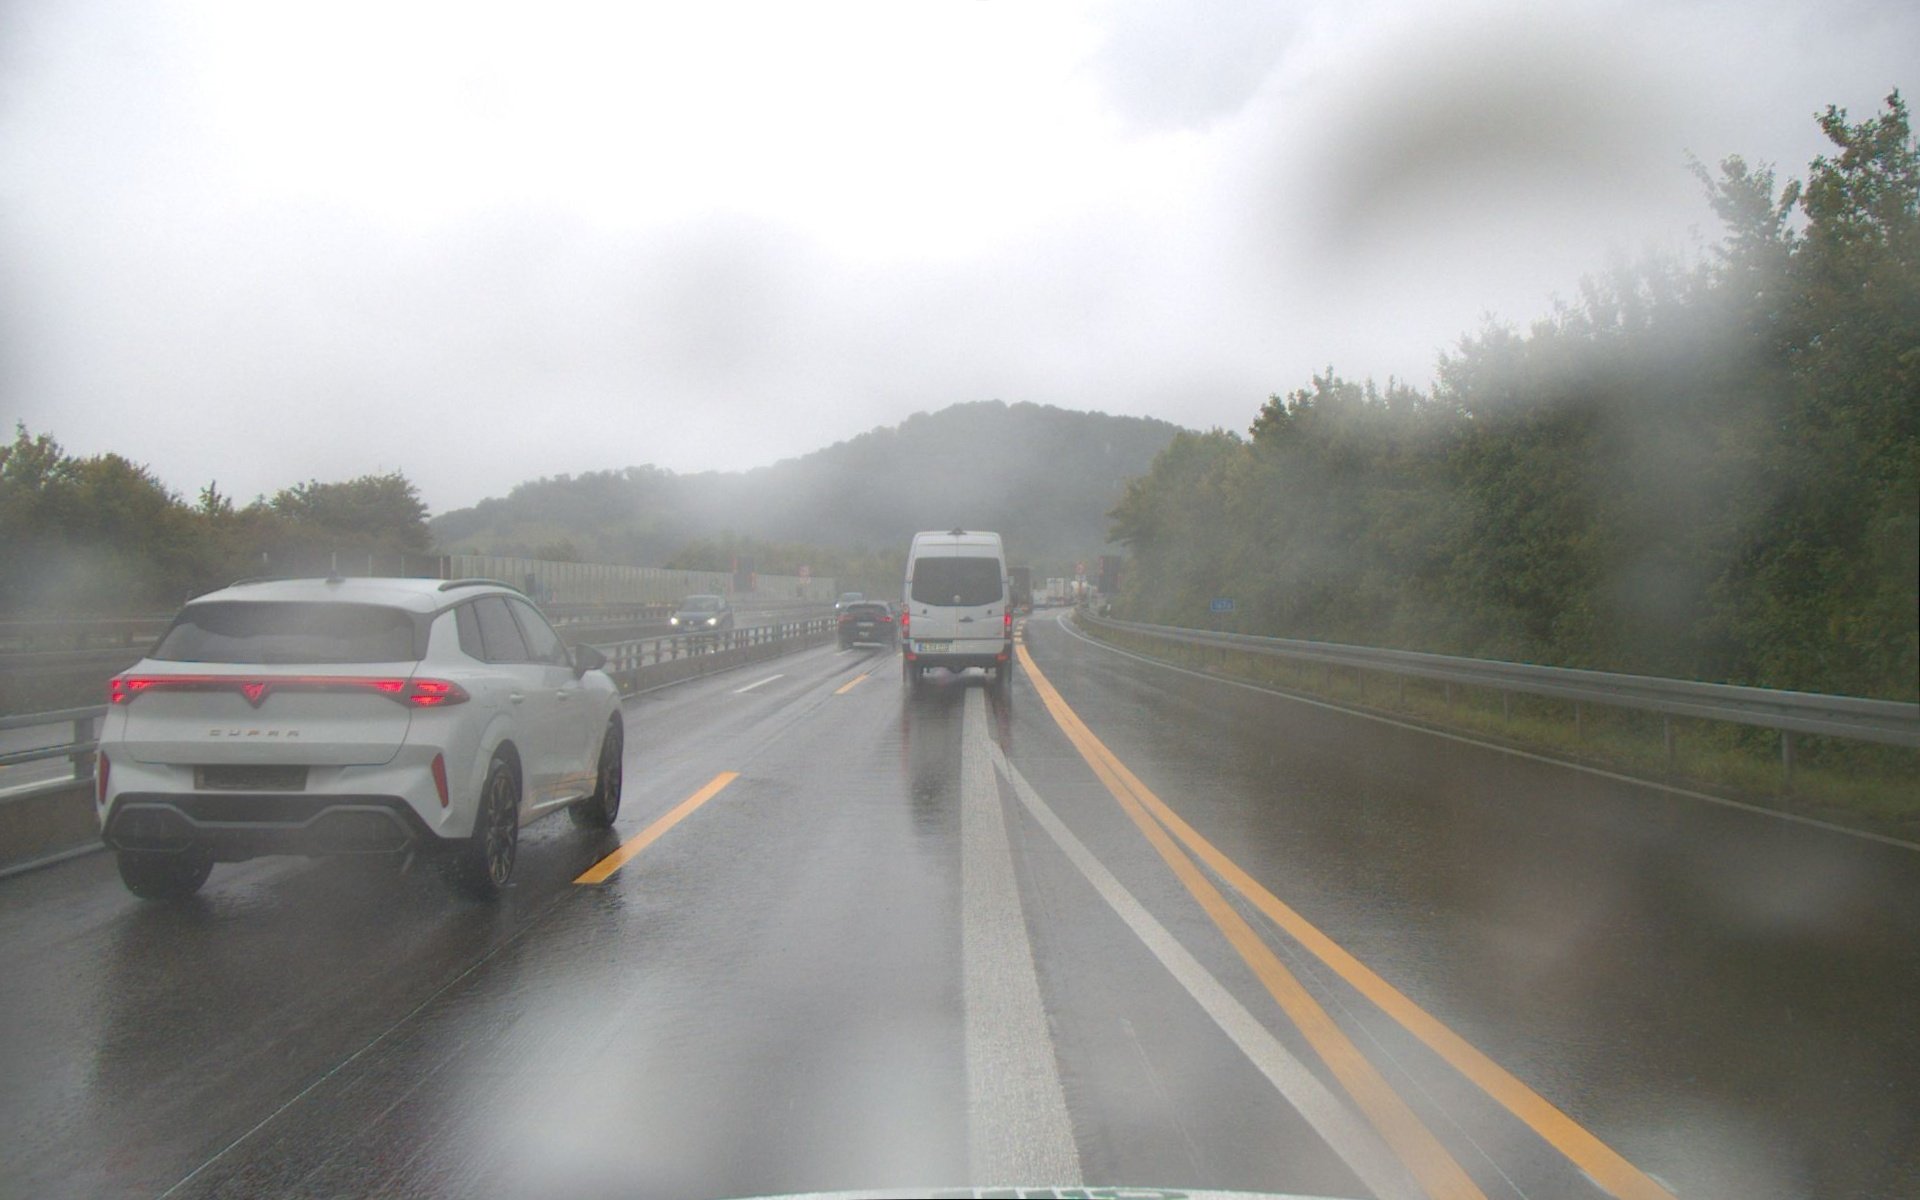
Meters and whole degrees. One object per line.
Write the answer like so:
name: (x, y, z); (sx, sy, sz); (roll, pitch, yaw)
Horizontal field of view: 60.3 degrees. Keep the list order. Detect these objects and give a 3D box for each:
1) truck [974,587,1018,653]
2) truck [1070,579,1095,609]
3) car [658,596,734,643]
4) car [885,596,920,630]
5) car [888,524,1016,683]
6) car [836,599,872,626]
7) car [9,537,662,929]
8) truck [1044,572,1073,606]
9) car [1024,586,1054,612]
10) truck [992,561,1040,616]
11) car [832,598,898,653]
truck: (1.897, 1.004, 85.322); (1.952, 3.163, 8.501); (1, 0, 3)
truck: (19.314, -0.850, 260.126); (2.836, 4.483, 9.631); (1, 0, 10)
car: (-9.104, 0.674, 57.383); (1.809, 1.529, 4.131); (1, 0, 2)
car: (-2.911, 0.647, 83.670); (1.672, 1.656, 3.998); (1, 0, -2)
car: (-0.093, 0.070, 30.458); (2.101, 2.616, 5.390); (1, 0, 1)
car: (-6.722, 0.784, 105.355); (1.741, 1.632, 4.318); (1, 0, 3)
car: (-3.125, 0.589, 9.545); (1.953, 1.646, 4.795); (1, 0, -1)
truck: (13.570, -1.452, 226.736); (2.971, 4.483, 9.631); (1, 0, 8)
car: (9.086, -0.099, 190.201); (2.837, 2.938, 6.416); (1, 0, 8)
truck: (4.846, -0.920, 141.876); (3.506, 4.483, 9.629); (1, 0, 5)
car: (-2.948, 0.771, 50.844); (1.908, 1.588, 3.997); (1, 0, -4)
